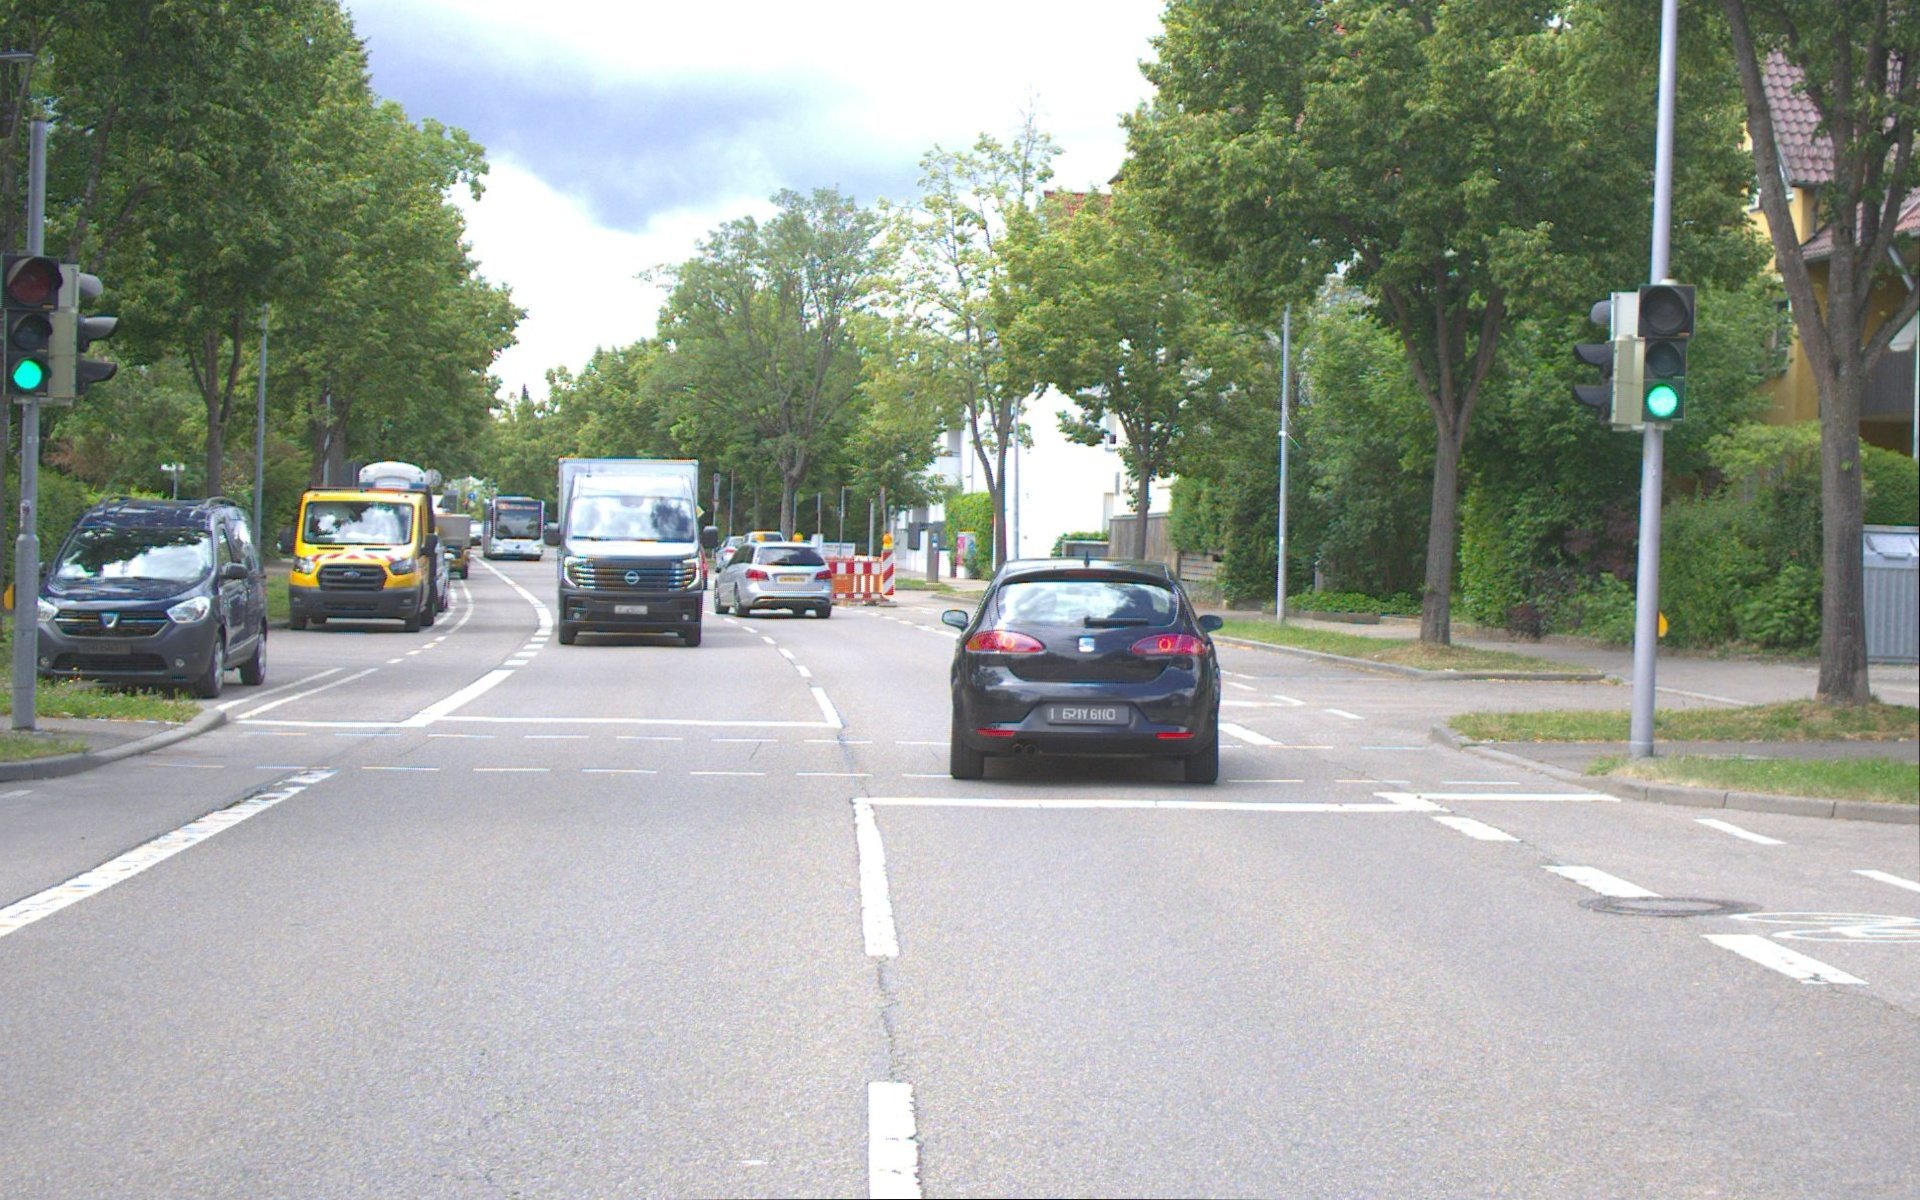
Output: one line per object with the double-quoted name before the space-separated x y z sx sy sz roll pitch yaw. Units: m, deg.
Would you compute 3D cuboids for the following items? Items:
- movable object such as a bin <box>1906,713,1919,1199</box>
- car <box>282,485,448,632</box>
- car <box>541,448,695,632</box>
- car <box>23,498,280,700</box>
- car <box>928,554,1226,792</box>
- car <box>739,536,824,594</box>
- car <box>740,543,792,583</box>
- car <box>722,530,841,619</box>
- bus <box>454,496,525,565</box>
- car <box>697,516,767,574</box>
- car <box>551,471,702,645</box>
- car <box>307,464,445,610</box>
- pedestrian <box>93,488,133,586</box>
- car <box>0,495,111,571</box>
"movable object such as a bin" 2.707 0.160 4.776 1.768 2.565 3.740 1 1 1
"car" -9.283 -0.669 53.987 2.092 2.167 5.045 1 1 -5
"car" -5.475 -0.972 55.812 2.287 2.782 7.145 0 1 -4
"car" -7.521 -0.046 32.356 1.667 1.766 4.468 0 1 -4
"car" 0.754 0.427 23.090 1.819 1.433 3.740 1 1 1
"car" -4.514 -0.898 86.627 1.809 1.410 3.694 1 1 -8
"car" -7.220 -1.384 128.194 1.810 1.410 3.693 1 1 -2
"car" -3.521 -0.523 67.265 1.905 1.680 3.741 1 1 -9
"bus" -15.218 -2.253 111.532 1.993 2.116 7.361 1 1 -6
"car" -6.554 -1.571 98.550 1.790 1.617 3.741 1 1 -7
"car" -4.761 -0.624 49.641 2.028 2.376 5.263 0 1 -4
"car" -10.947 -1.188 64.779 2.092 2.617 5.045 1 1 -5
"pedestrian" -15.315 -1.139 62.178 0.595 1.735 0.574 1 1 -5
"car" -20.520 -1.474 74.849 3.682 1.588 1.679 1 1 -4
